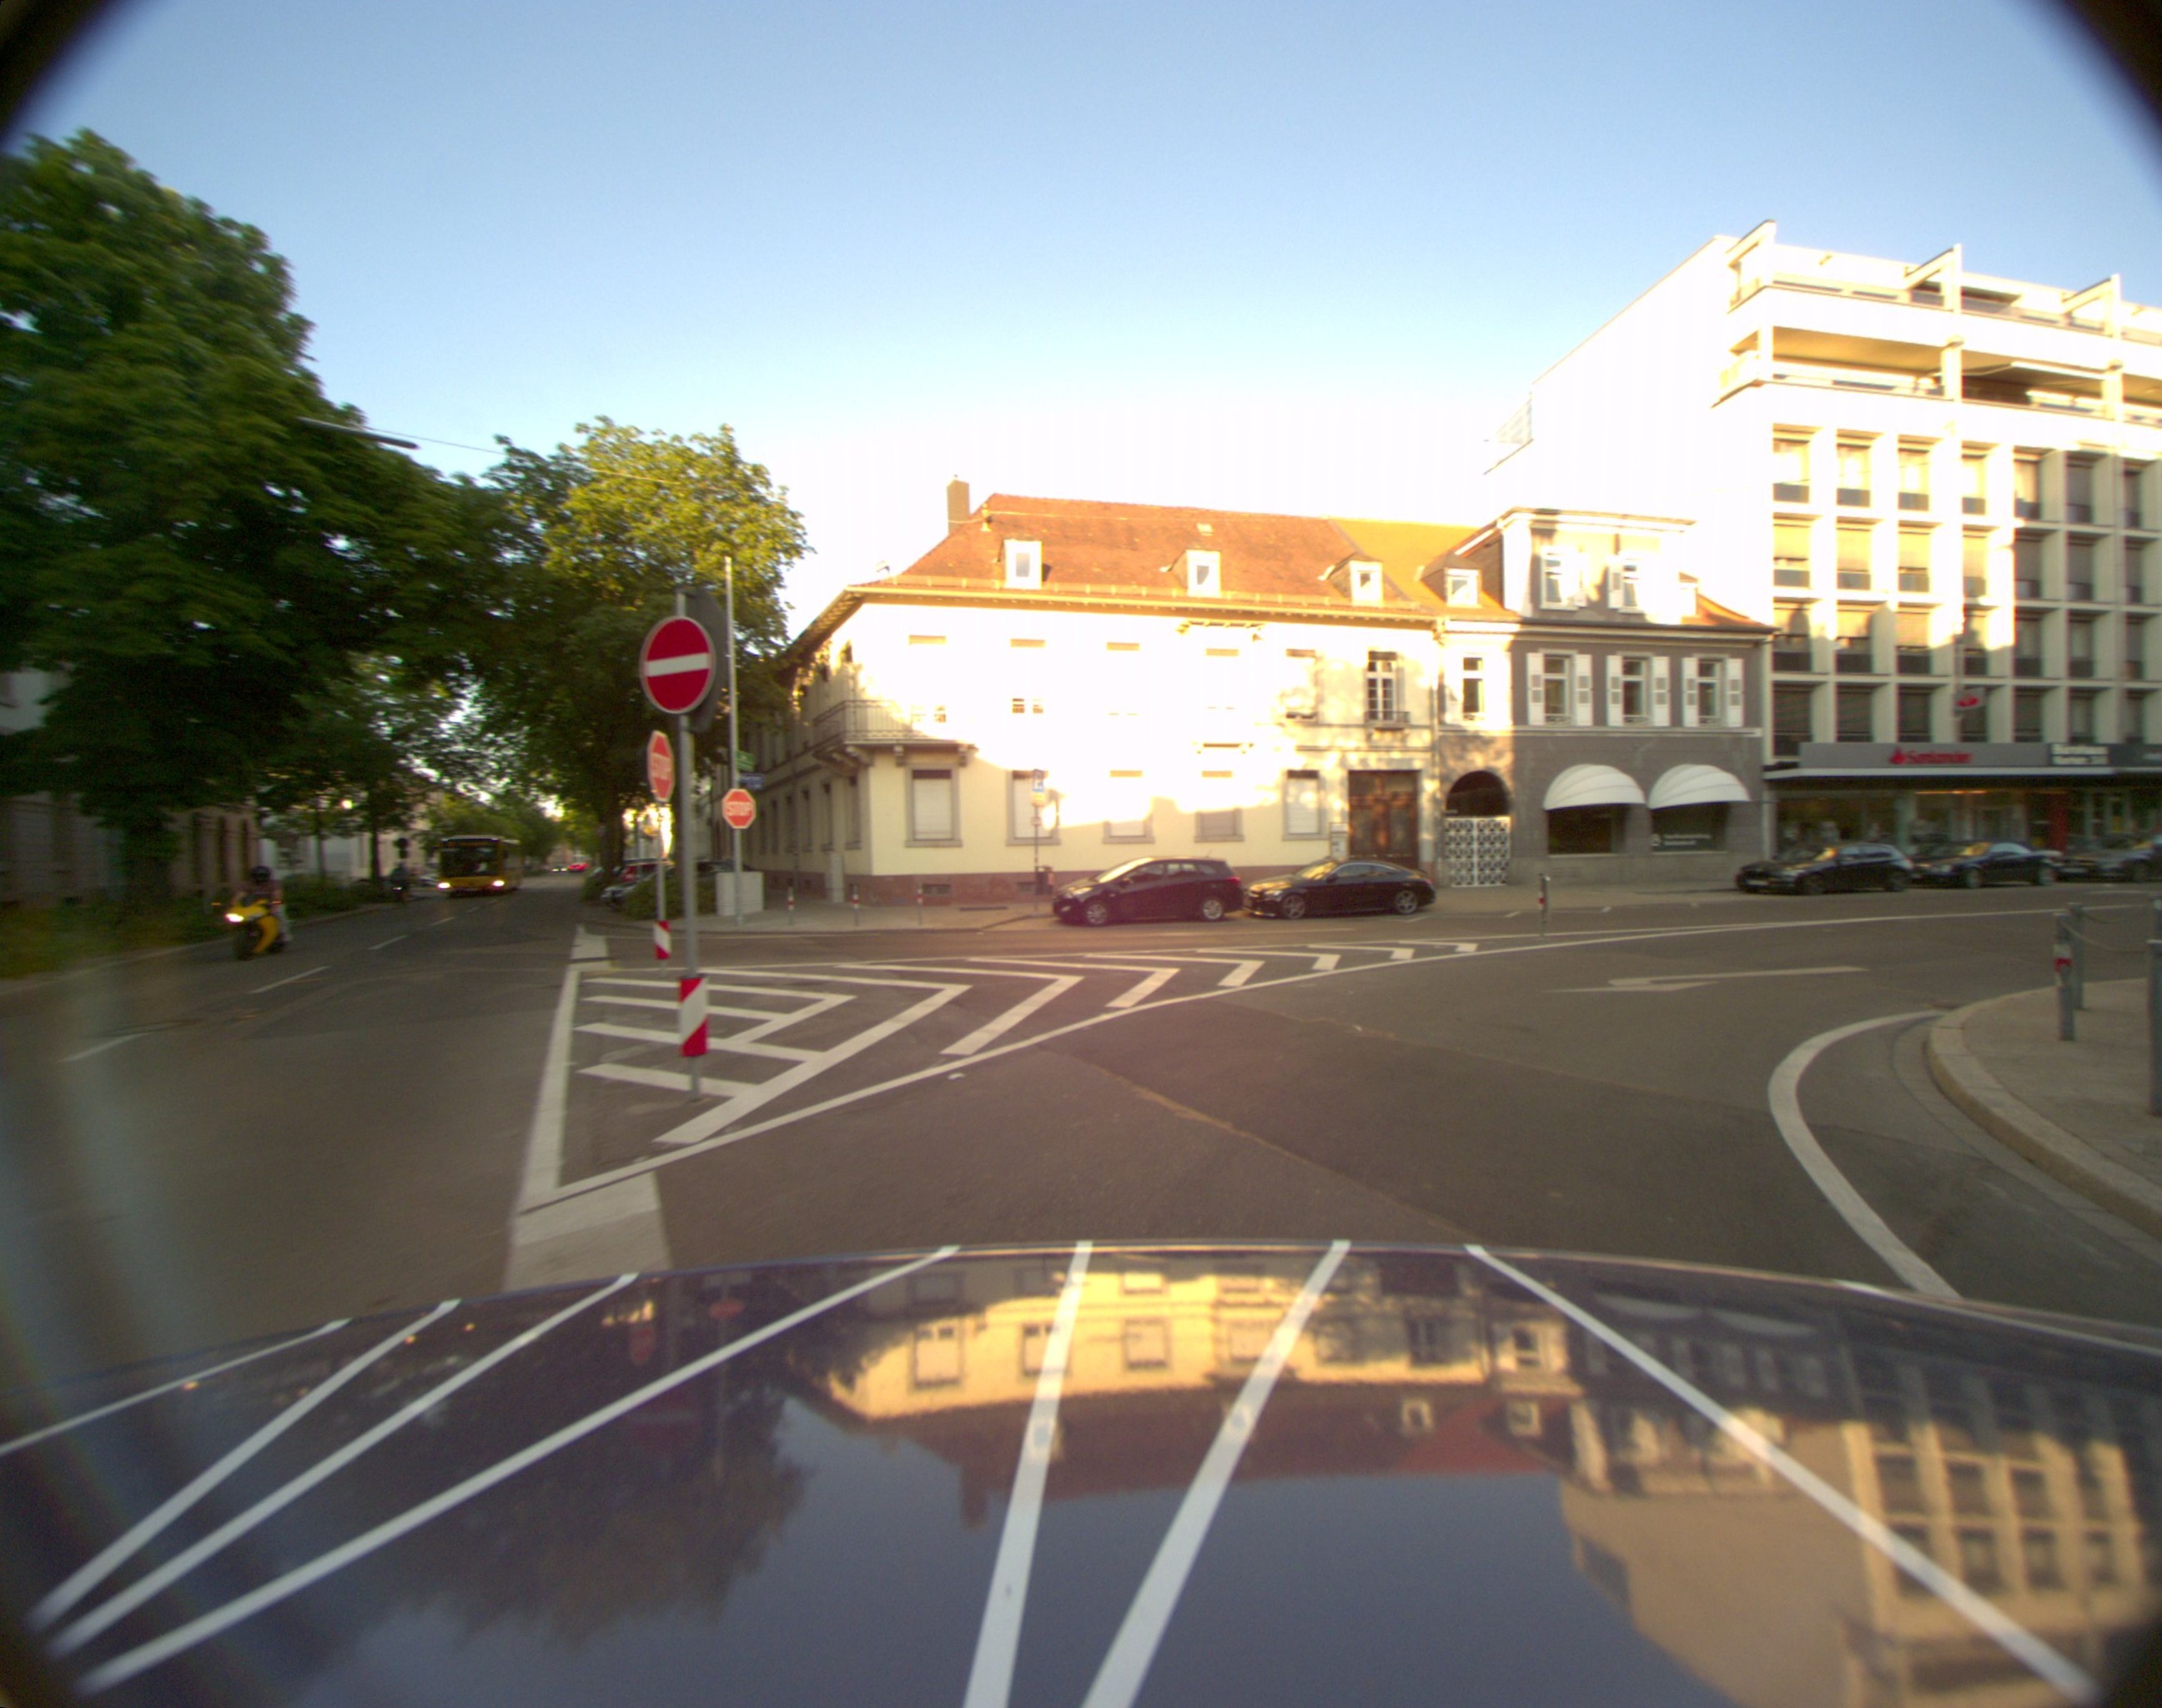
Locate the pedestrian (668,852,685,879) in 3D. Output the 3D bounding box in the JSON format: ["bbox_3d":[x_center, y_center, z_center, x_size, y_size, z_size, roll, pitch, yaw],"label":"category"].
[{"bbox_3d":[-26.297,0.741,49.359,0.808,1.760,1.019,-2,1,-34],"label":"pedestrian"}]

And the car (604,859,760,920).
[{"bbox_3d":[-12.203,1.011,23.345,4.007,1.606,1.824,-2,1,-35],"label":"car"}]

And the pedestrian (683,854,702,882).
[{"bbox_3d":[-25.481,0.896,49.820,0.896,1.760,1.019,-2,1,-34],"label":"pedestrian"}]

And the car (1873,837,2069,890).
[{"bbox_3d":[25.888,0.251,22.141,4.502,1.379,1.746,-1,1,-12],"label":"car"}]

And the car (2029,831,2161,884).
[{"bbox_3d":[31.698,0.069,23.002,4.559,1.438,1.746,-1,1,-9],"label":"car"}]

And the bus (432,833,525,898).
[{"bbox_3d":[-32.733,0.544,41.749,2.717,2.984,12.051,-4,2,-33],"label":"bus"}]

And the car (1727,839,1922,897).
[{"bbox_3d":[20.609,0.357,21.128,4.250,1.438,1.746,-1,1,-11],"label":"car"}]

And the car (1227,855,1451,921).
[{"bbox_3d":[6.207,0.787,18.485,4.858,1.386,1.777,-1,0,-9],"label":"car"}]

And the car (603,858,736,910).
[{"bbox_3d":[-14.796,1.020,27.401,4.007,1.606,1.719,-2,1,-35],"label":"car"}]

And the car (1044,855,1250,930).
[{"bbox_3d":[1.469,0.837,17.640,4.431,1.532,1.806,-1,0,-10],"label":"car"}]

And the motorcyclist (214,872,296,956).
[{"bbox_3d":[-15.061,1.071,13.885,0.795,1.412,0.697,-4,2,-33],"label":"motorcyclist"}]

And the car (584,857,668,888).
[{"bbox_3d":[-26.205,1.050,43.791,4.007,1.606,1.719,-2,1,-35],"label":"car"}]

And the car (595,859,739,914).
[{"bbox_3d":[-13.696,1.010,25.224,4.007,1.606,1.719,-2,1,-35],"label":"car"}]

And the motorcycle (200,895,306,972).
[{"bbox_3d":[-14.984,1.395,13.814,0.795,1.154,1.962,-4,2,-34],"label":"motorcycle"}]

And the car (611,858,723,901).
[{"bbox_3d":[-17.741,1.047,32.594,4.007,1.606,1.719,-2,1,-35],"label":"car"}]

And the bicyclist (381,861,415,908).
[{"bbox_3d":[-27.351,1.200,30.453,0.785,1.829,0.824,-4,3,-33],"label":"bicyclist"}]

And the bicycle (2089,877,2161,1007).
[{"bbox_3d":[10.327,0.755,6.735,1.802,1.119,0.728,-2,-2,-2],"label":"bicycle"}]

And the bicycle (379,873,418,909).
[{"bbox_3d":[-27.330,1.446,30.448,0.785,1.322,2.073,-4,2,-33],"label":"bicycle"}]
